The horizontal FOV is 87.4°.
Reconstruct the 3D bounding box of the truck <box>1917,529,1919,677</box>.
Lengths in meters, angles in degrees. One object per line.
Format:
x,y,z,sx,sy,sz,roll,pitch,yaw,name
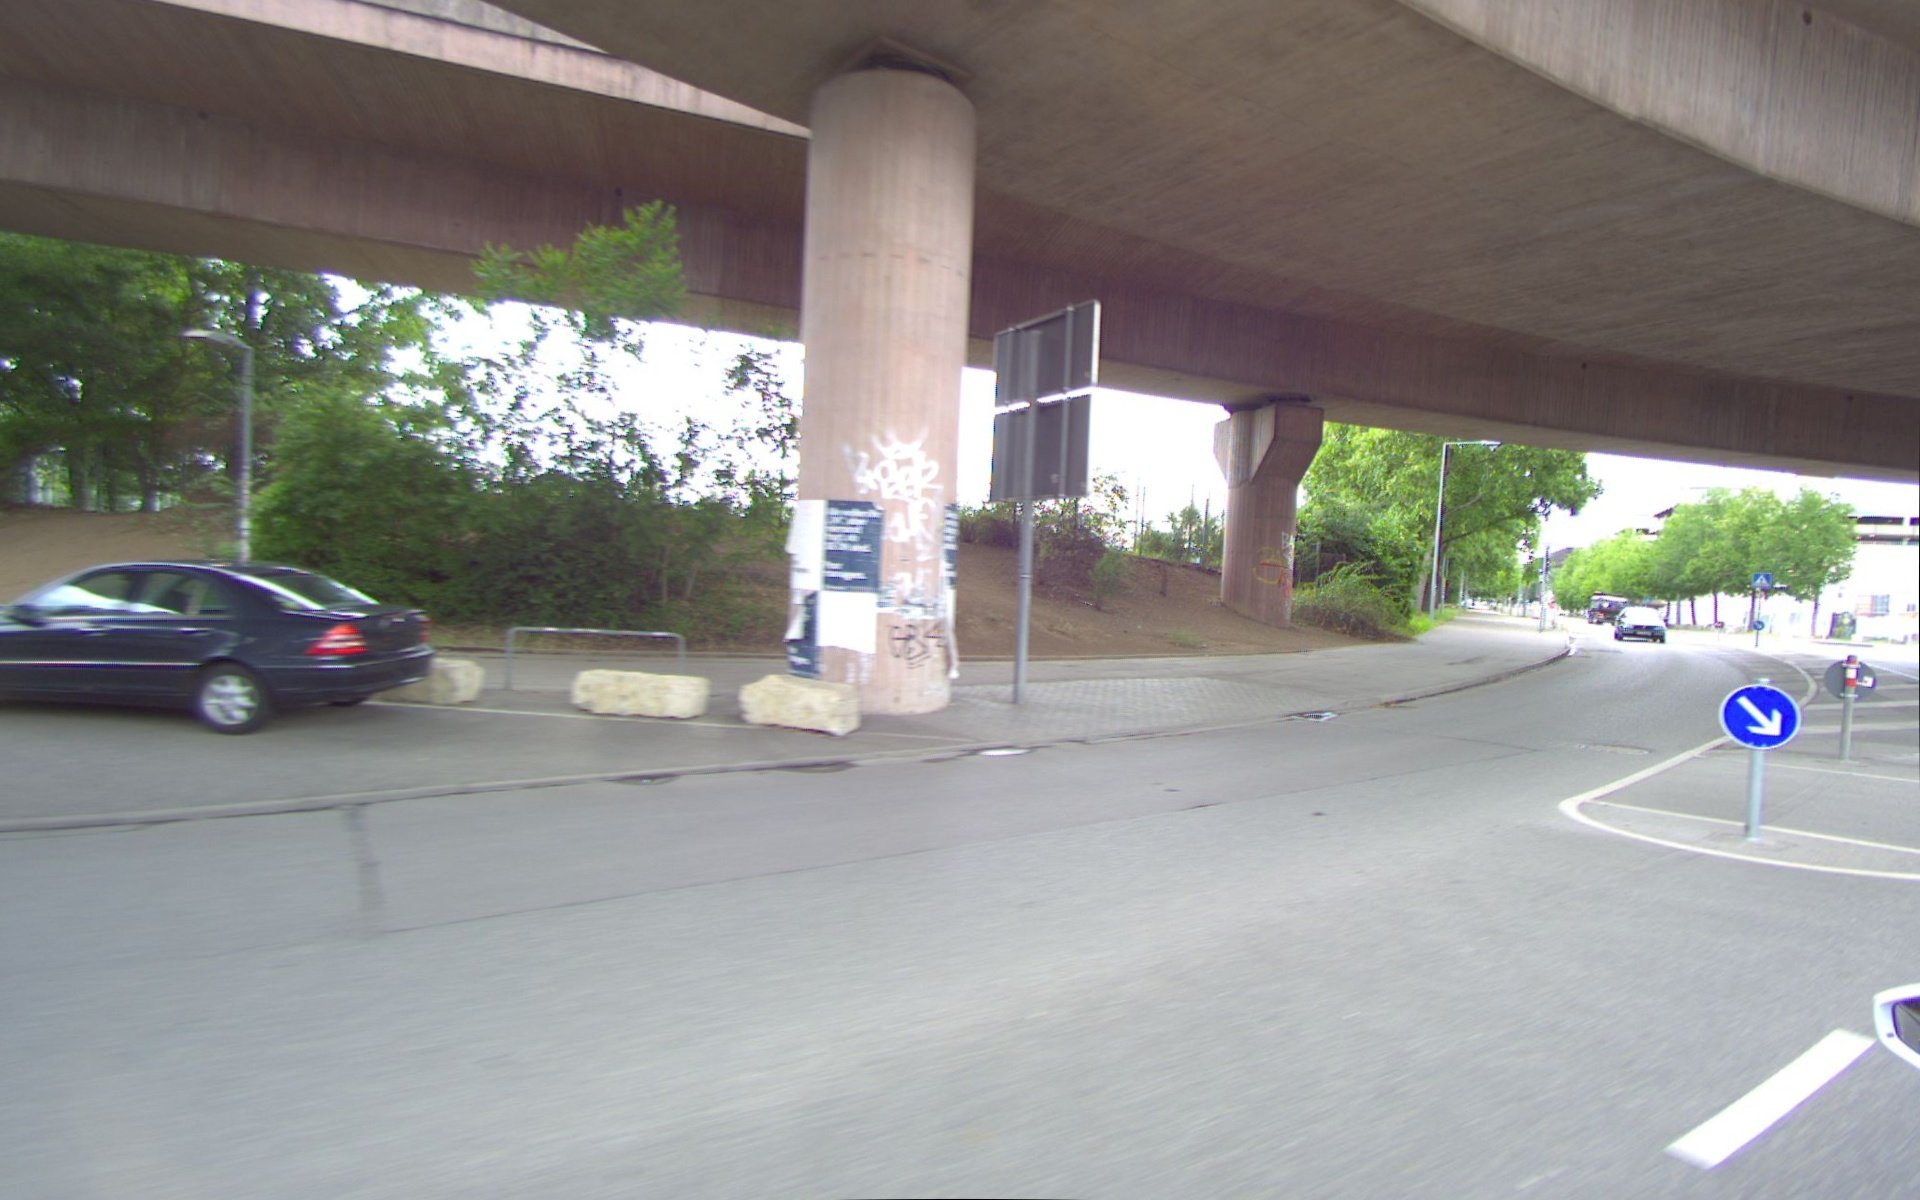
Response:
23.203,-0.009,21.628,2.722,3.747,7.852,1,-1,36,truck

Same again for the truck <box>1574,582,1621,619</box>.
64.859,0.100,102.355,2.630,3.605,7.921,1,-1,22,truck

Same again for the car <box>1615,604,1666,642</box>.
29.029,0.945,42.901,1.653,1.450,3.988,3,1,34,car

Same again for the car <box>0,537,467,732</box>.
-7.440,0.236,9.473,4.679,1.450,1.828,3,4,1,car
